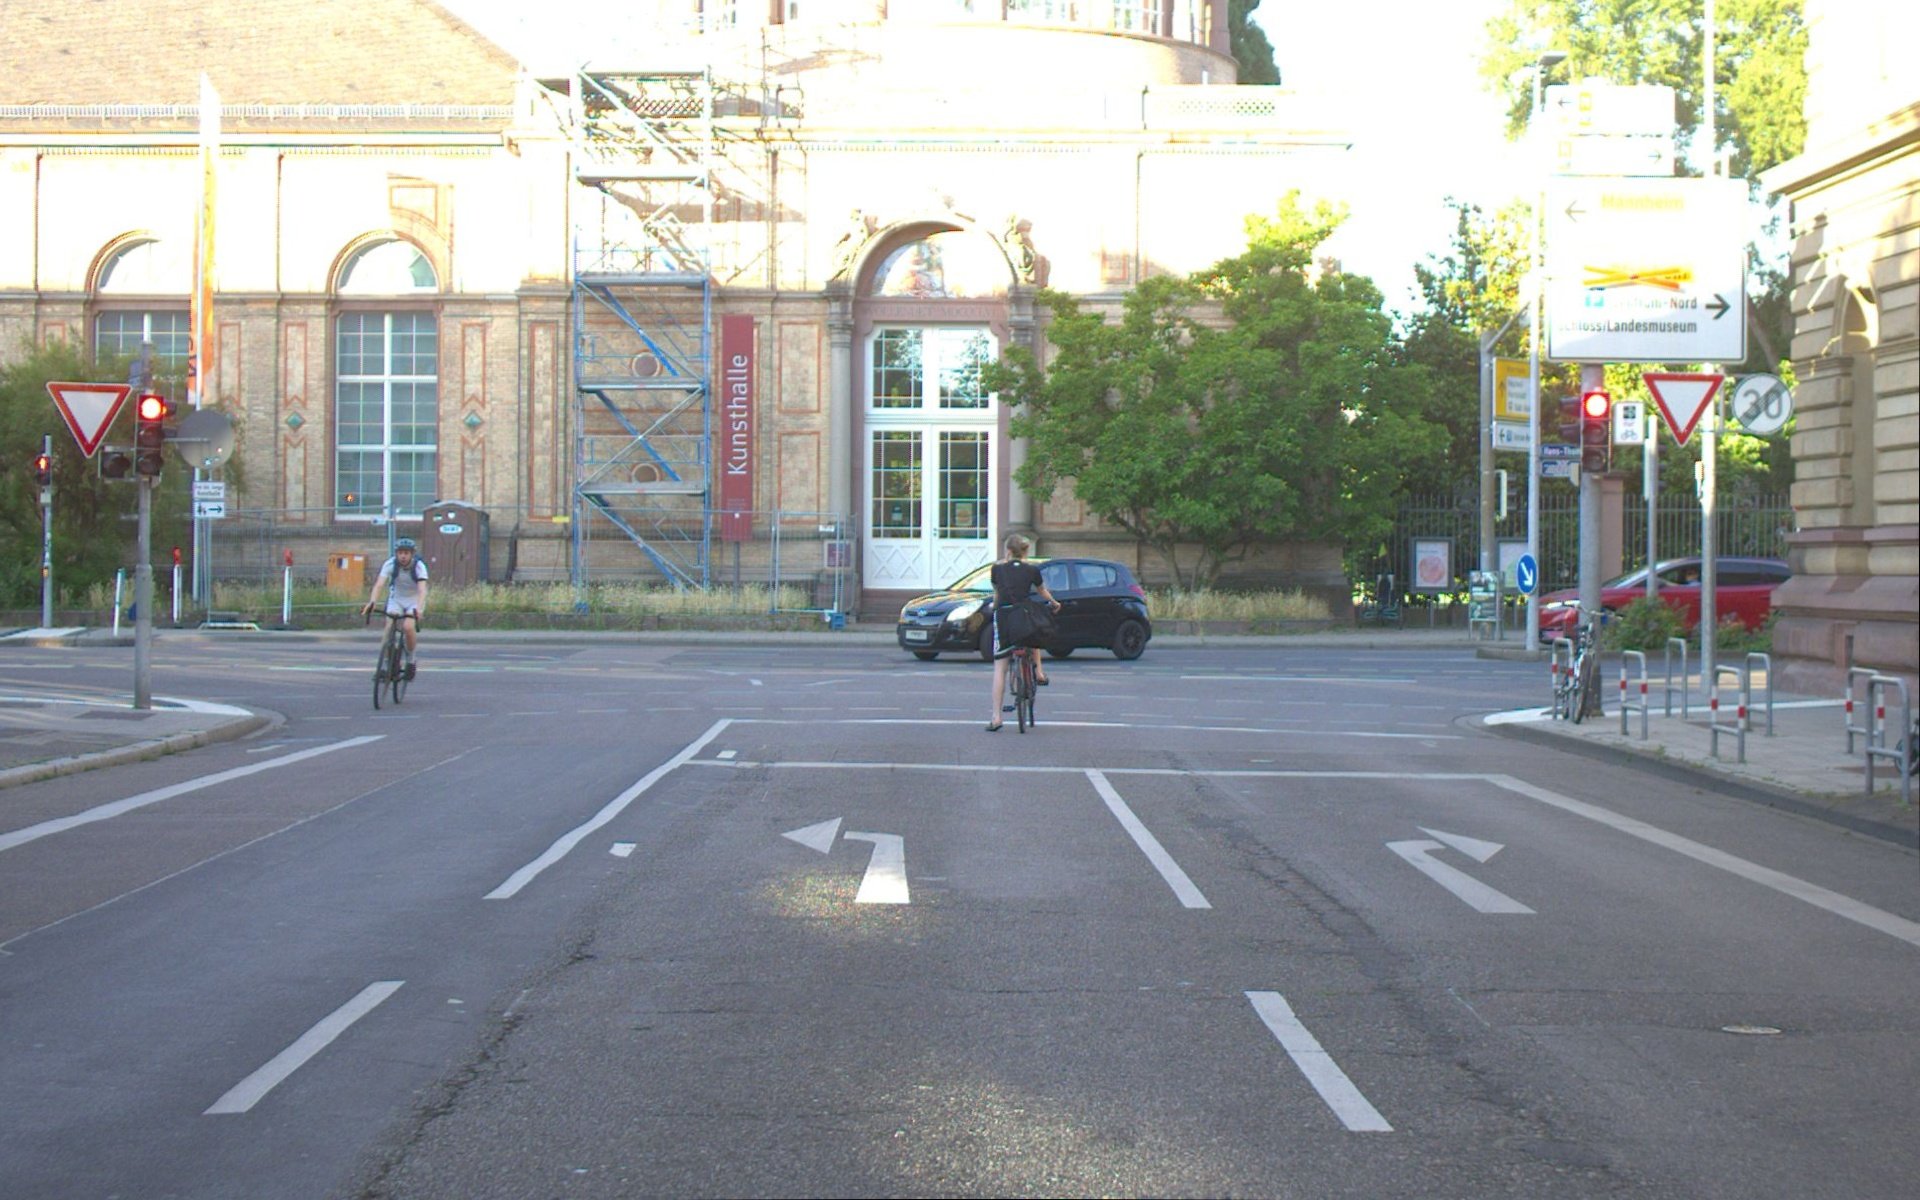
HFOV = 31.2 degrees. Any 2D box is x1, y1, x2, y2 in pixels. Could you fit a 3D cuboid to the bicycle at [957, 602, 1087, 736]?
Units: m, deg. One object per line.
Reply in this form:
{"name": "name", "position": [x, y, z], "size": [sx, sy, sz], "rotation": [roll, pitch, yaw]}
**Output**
{"name": "bicycle", "position": [0.570, 0.610, 30.735], "size": [0.712, 1.152, 2.067], "rotation": [0, -1, 14]}

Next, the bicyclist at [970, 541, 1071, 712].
{"name": "bicyclist", "position": [0.544, 0.237, 30.608], "size": [0.716, 1.497, 0.850], "rotation": [0, -1, 14]}

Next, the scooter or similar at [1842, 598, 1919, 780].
{"name": "scooter or similar", "position": [6.526, 0.593, 22.995], "size": [1.130, 1.191, 0.584], "rotation": [1, 1, 7]}

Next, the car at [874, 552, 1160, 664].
{"name": "car", "position": [0.834, 0.084, 49.287], "size": [3.842, 1.466, 1.663], "rotation": [-2, 2, -35]}

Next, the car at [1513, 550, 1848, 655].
{"name": "car", "position": [11.290, 0.020, 54.081], "size": [4.831, 1.540, 1.837], "rotation": [-1, 1, -3]}

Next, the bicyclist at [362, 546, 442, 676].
{"name": "bicyclist", "position": [-5.902, 0.119, 36.393], "size": [0.625, 1.360, 0.929], "rotation": [0, -1, 5]}

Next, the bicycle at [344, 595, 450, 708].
{"name": "bicycle", "position": [-5.923, 0.542, 36.261], "size": [0.625, 1.152, 2.052], "rotation": [0, -1, 4]}

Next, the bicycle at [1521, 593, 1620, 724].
{"name": "bicycle", "position": [5.720, 0.546, 32.301], "size": [0.582, 1.184, 1.920], "rotation": [0, -1, 0]}
